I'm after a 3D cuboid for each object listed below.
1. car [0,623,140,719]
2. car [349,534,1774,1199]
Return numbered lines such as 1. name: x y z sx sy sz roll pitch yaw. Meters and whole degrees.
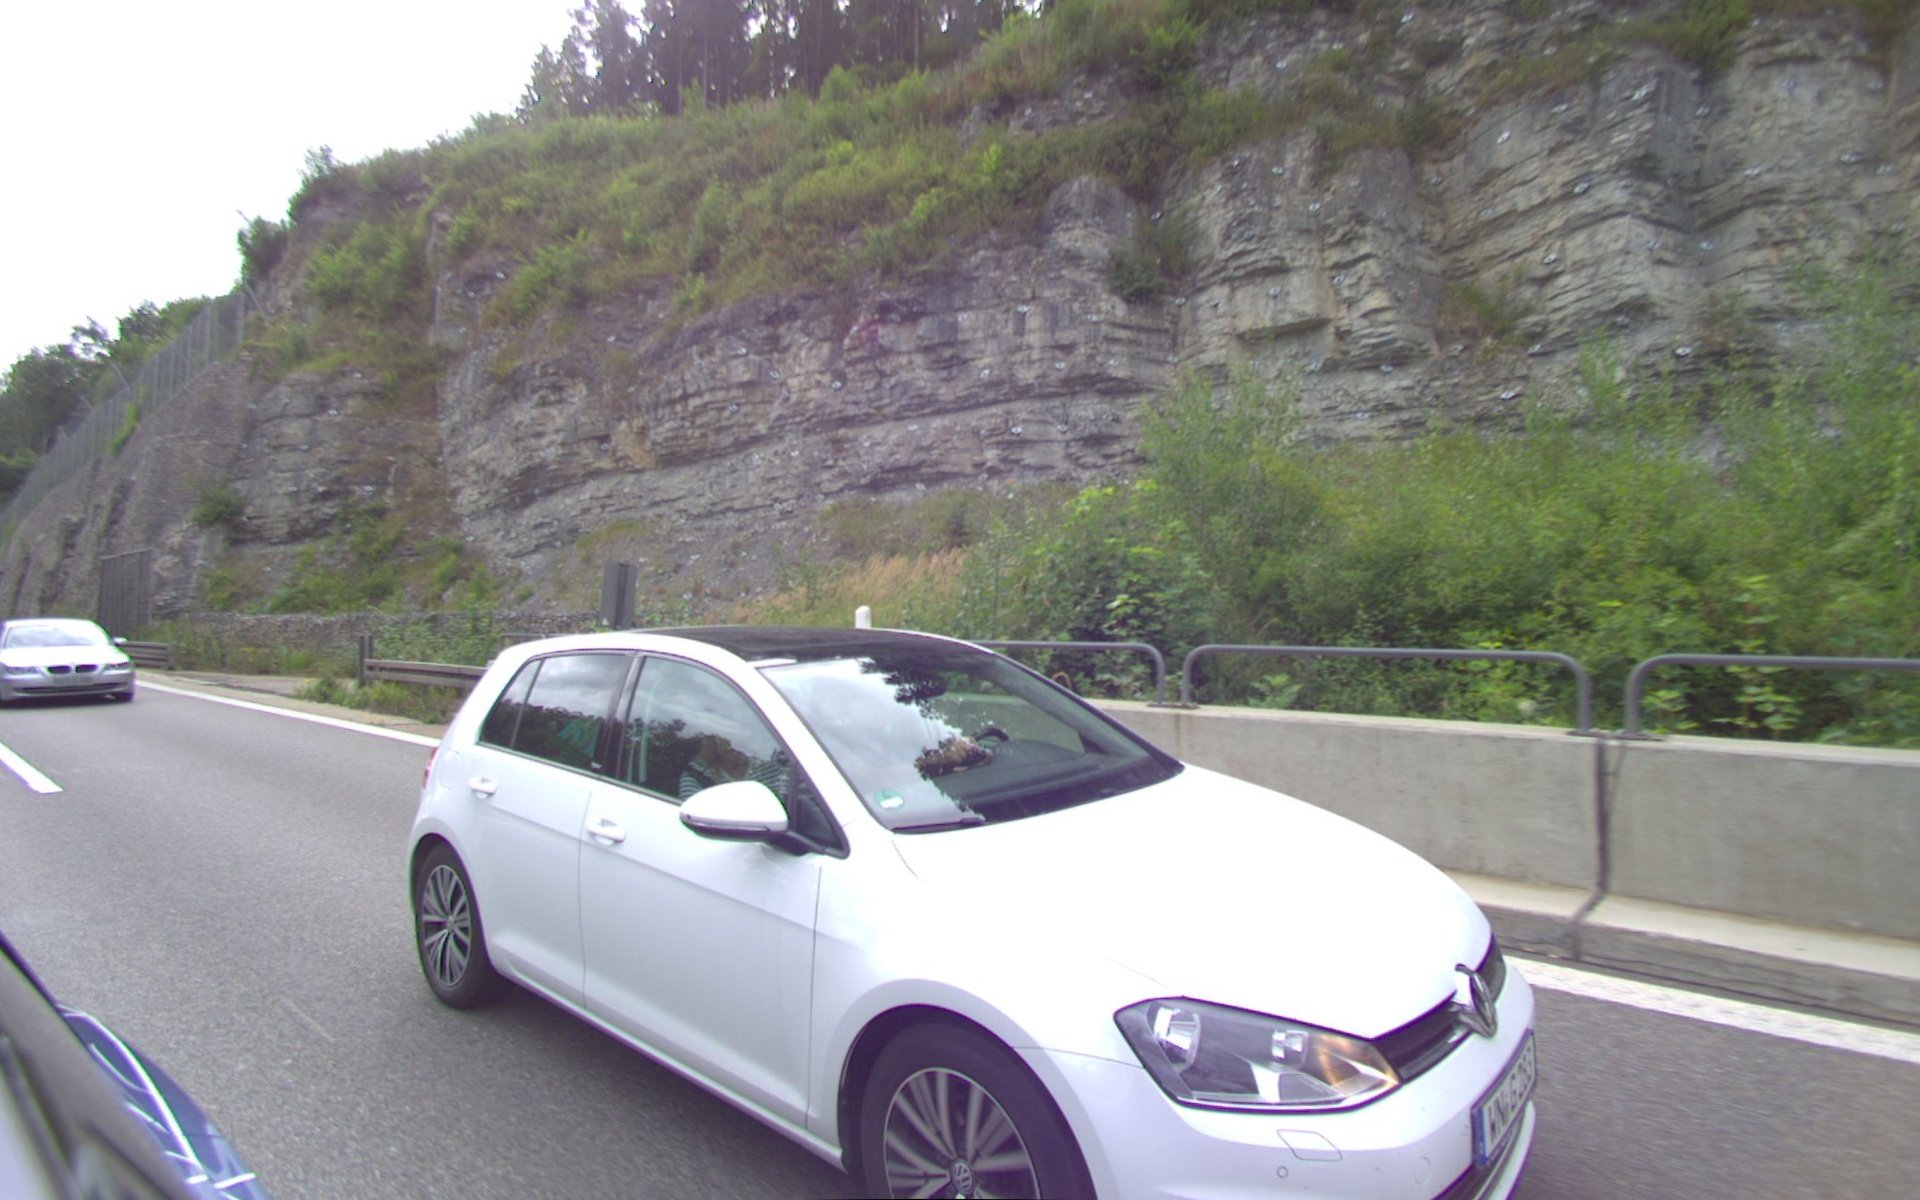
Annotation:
1. car: -16.356 1.180 18.104 5.133 1.468 1.809 -2 -1 42
2. car: -0.271 0.754 3.444 4.626 1.493 1.825 -2 -3 42
